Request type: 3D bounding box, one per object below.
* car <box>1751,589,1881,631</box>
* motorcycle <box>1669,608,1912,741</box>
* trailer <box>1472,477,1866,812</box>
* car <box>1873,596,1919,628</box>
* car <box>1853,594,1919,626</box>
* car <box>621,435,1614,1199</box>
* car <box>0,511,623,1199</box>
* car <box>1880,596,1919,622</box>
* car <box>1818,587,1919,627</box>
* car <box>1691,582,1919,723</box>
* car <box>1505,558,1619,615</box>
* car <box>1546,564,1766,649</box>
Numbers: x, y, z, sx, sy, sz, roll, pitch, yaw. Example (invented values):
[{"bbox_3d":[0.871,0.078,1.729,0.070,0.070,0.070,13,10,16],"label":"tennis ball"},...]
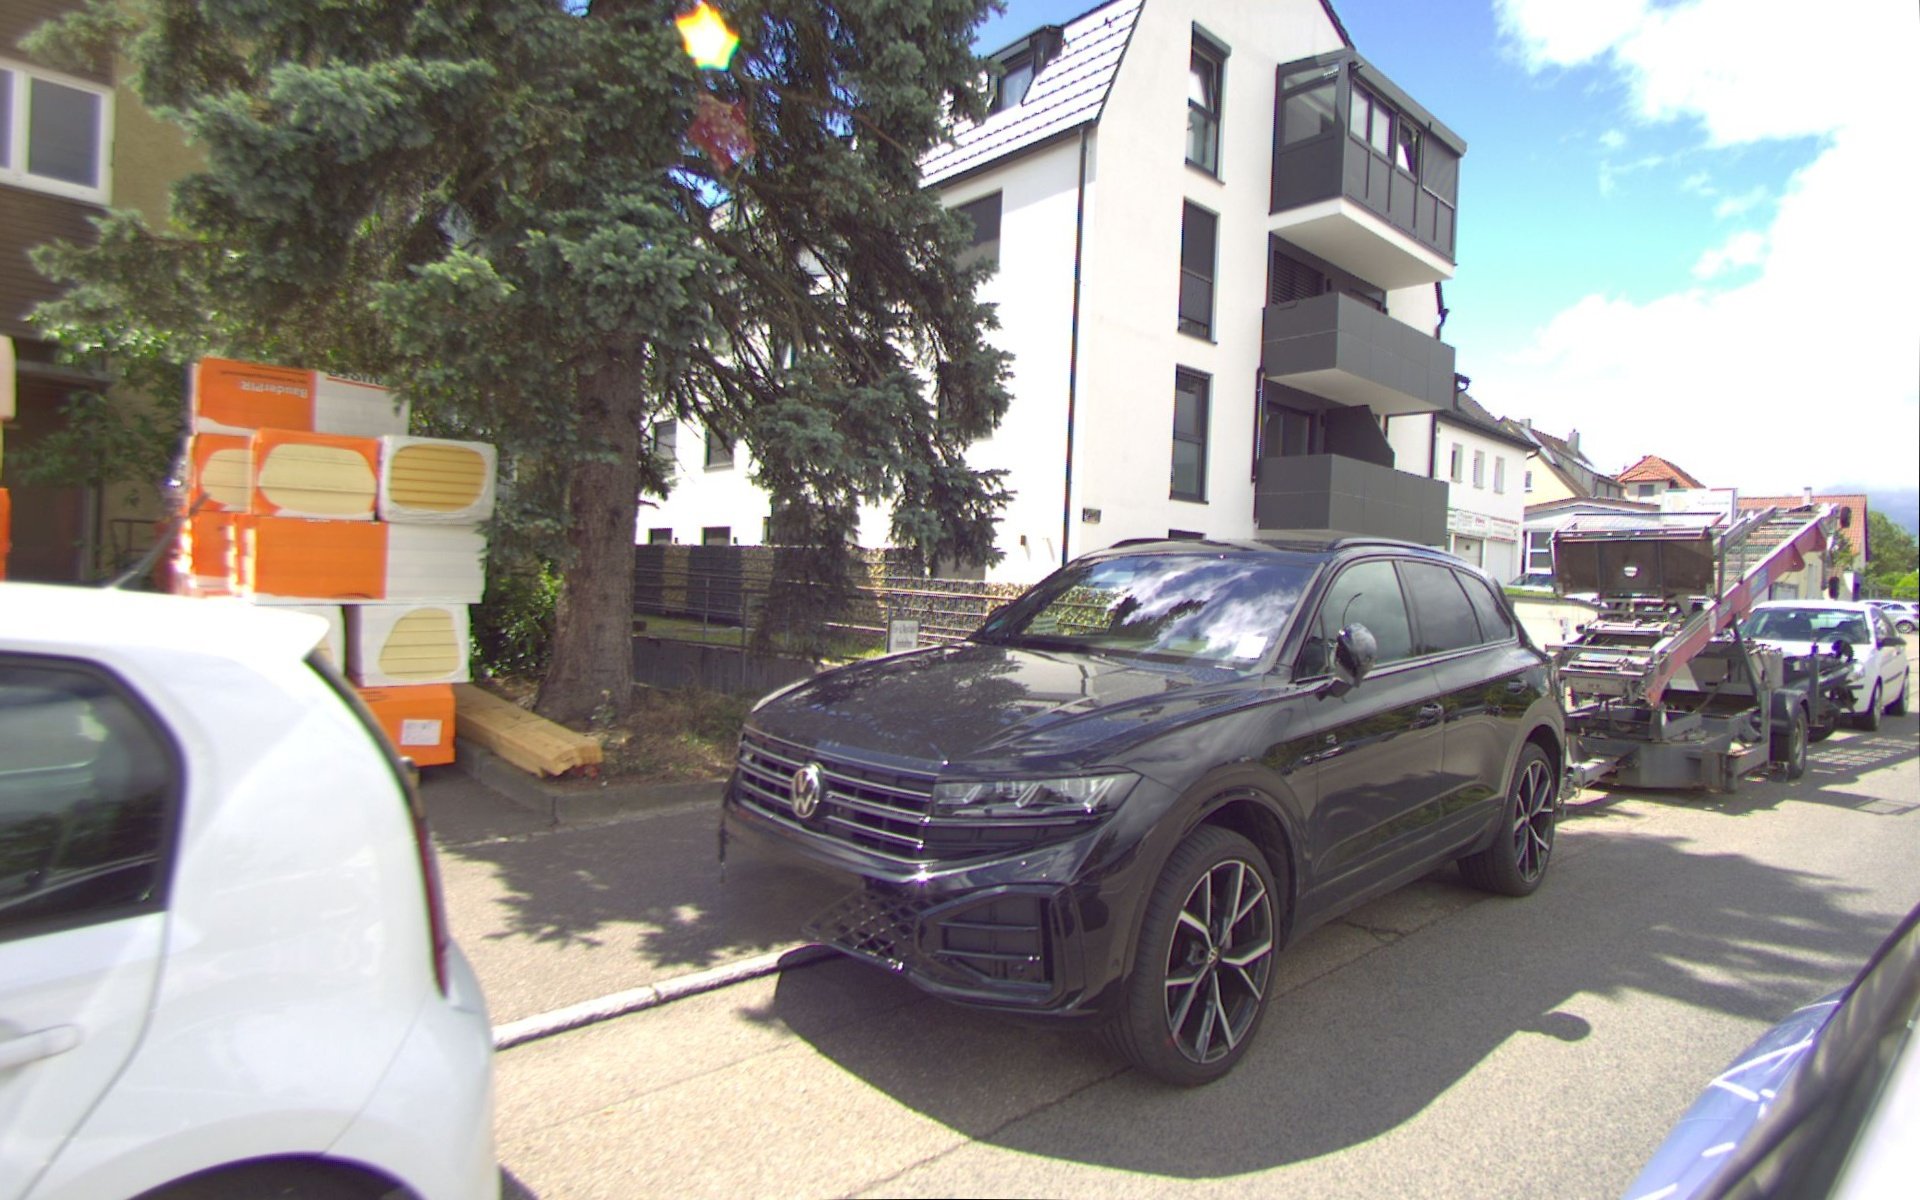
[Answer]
[{"bbox_3d":[35.193,0.380,41.665,1.719,1.629,3.905,1,0,-42],"label":"car"},{"bbox_3d":[8.700,0.752,10.688,1.796,1.225,0.714,3,1,15],"label":"motorcycle"},{"bbox_3d":[6.118,0.260,8.551,4.042,2.171,1.776,1,2,-42],"label":"trailer"},{"bbox_3d":[51.042,0.694,54.264,1.942,1.543,2.893,1,5,-44],"label":"car"},{"bbox_3d":[53.496,0.612,57.099,1.942,1.543,4.414,1,5,-43],"label":"car"},{"bbox_3d":[1.127,0.472,4.519,4.633,1.748,1.876,0,2,-43],"label":"car"},{"bbox_3d":[-2.635,0.606,1.072,3.930,1.526,1.777,1,2,-41],"label":"car"},{"bbox_3d":[59.514,0.659,62.033,1.942,1.423,4.414,1,5,-43],"label":"car"},{"bbox_3d":[47.062,0.366,51.906,1.942,1.627,4.414,1,5,-43],"label":"car"},{"bbox_3d":[11.053,0.585,12.943,3.911,1.449,1.724,1,3,-39],"label":"car"},{"bbox_3d":[19.274,-0.427,32.370,3.593,1.537,1.639,3,4,-34],"label":"car"},{"bbox_3d":[17.684,0.094,25.873,1.834,1.673,4.203,1,5,-41],"label":"car"}]
